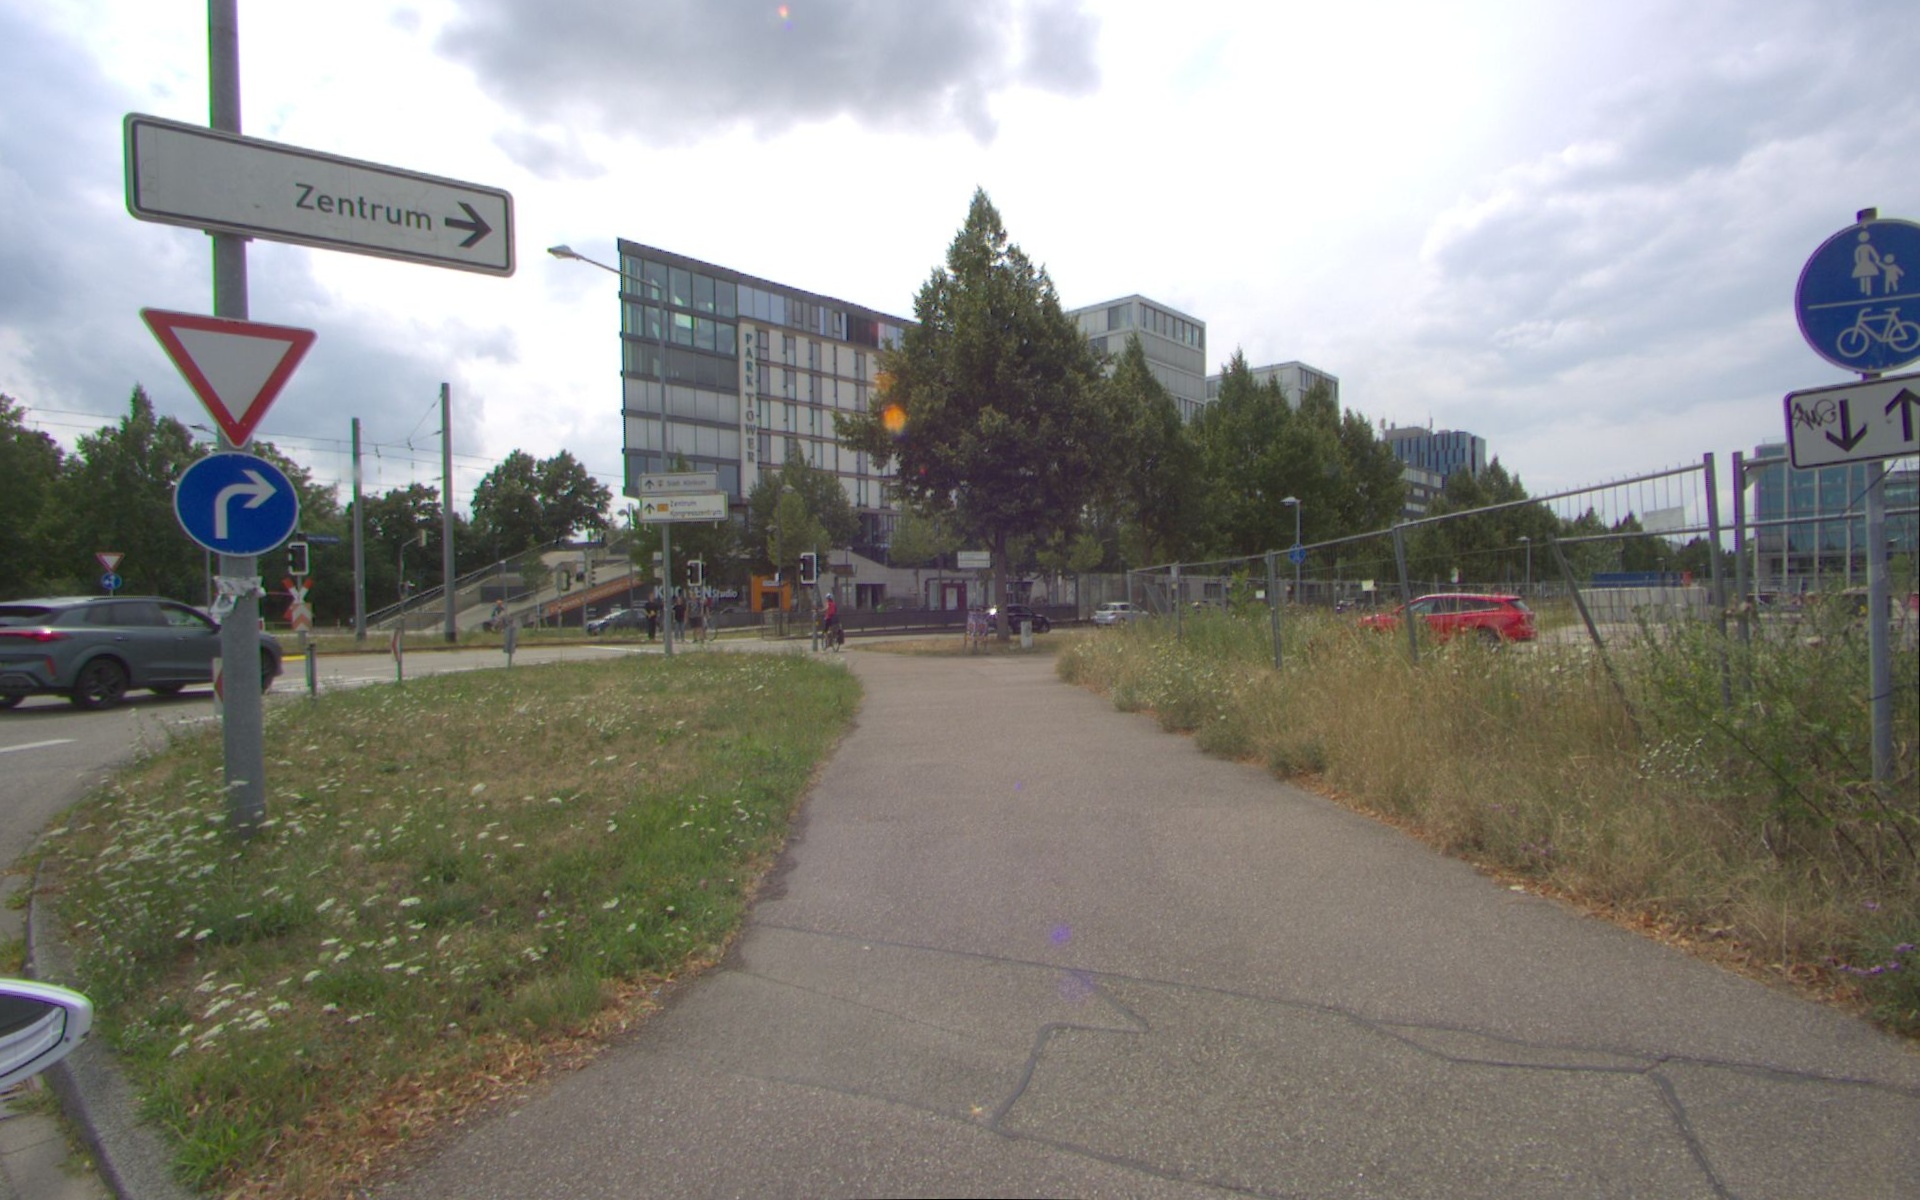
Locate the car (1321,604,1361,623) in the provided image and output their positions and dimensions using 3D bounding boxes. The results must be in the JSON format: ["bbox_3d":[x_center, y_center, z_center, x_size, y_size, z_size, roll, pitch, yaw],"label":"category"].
[{"bbox_3d":[31.232,1.064,82.020,1.780,1.517,4.084,0,0,40],"label":"car"}]

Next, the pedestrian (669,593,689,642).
[{"bbox_3d":[-10.936,0.691,38.981,0.546,1.887,0.527,0,1,37],"label":"pedestrian"}]

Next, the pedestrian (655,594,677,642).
[{"bbox_3d":[-11.279,0.677,38.409,0.546,1.805,0.629,0,1,37],"label":"pedestrian"}]

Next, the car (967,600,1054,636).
[{"bbox_3d":[2.328,0.791,45.542,1.722,1.539,4.110,0,0,43],"label":"car"}]

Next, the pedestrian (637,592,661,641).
[{"bbox_3d":[-11.727,0.618,37.804,0.546,1.805,0.685,0,1,37],"label":"pedestrian"}]

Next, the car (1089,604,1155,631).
[{"bbox_3d":[9.275,0.966,57.191,1.809,1.482,4.225,0,0,41],"label":"car"}]

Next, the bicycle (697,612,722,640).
[{"bbox_3d":[-10.194,1.042,40.674,0.541,1.072,1.704,0,0,-29],"label":"bicycle"}]

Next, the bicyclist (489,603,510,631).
[{"bbox_3d":[-21.969,0.801,47.817,0.664,1.334,0.638,0,1,26],"label":"bicyclist"}]

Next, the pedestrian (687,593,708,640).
[{"bbox_3d":[-10.149,0.620,38.774,0.546,1.805,0.576,0,1,37],"label":"pedestrian"}]

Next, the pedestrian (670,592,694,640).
[{"bbox_3d":[-10.587,0.616,38.194,0.546,1.805,0.685,0,1,37],"label":"pedestrian"}]

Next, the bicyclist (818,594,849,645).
[{"bbox_3d":[-4.183,0.639,33.024,0.778,1.649,1.046,-1,1,-19],"label":"bicyclist"}]

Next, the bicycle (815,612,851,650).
[{"bbox_3d":[-4.237,1.011,33.193,0.778,1.183,2.036,-1,0,-19],"label":"bicycle"}]

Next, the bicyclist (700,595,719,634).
[{"bbox_3d":[-10.210,0.588,40.760,0.552,1.601,0.761,0,1,-30],"label":"bicyclist"}]

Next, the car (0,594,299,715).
[{"bbox_3d":[-12.786,0.718,15.340,2.024,1.572,4.473,0,0,6],"label":"car"}]

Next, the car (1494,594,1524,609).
[{"bbox_3d":[60.923,0.131,111.051,1.977,1.639,4.713,-1,0,41],"label":"car"}]

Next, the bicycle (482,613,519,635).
[{"bbox_3d":[-21.953,1.147,47.809,1.728,1.020,0.652,0,0,25],"label":"bicycle"}]

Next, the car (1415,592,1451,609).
[{"bbox_3d":[42.813,0.033,90.675,1.782,1.517,4.223,0,0,42],"label":"car"}]

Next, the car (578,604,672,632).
[{"bbox_3d":[-18.572,0.981,55.703,1.829,1.477,4.696,0,0,43],"label":"car"}]

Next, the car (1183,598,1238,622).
[{"bbox_3d":[16.470,0.647,65.705,1.713,1.554,4.334,0,0,42],"label":"car"}]

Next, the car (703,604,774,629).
[{"bbox_3d":[-13.647,0.991,61.844,1.829,1.477,3.963,0,0,44],"label":"car"}]

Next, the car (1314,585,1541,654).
[{"bbox_3d":[11.975,0.493,25.819,5.072,1.625,1.777,-1,0,36],"label":"car"}]
